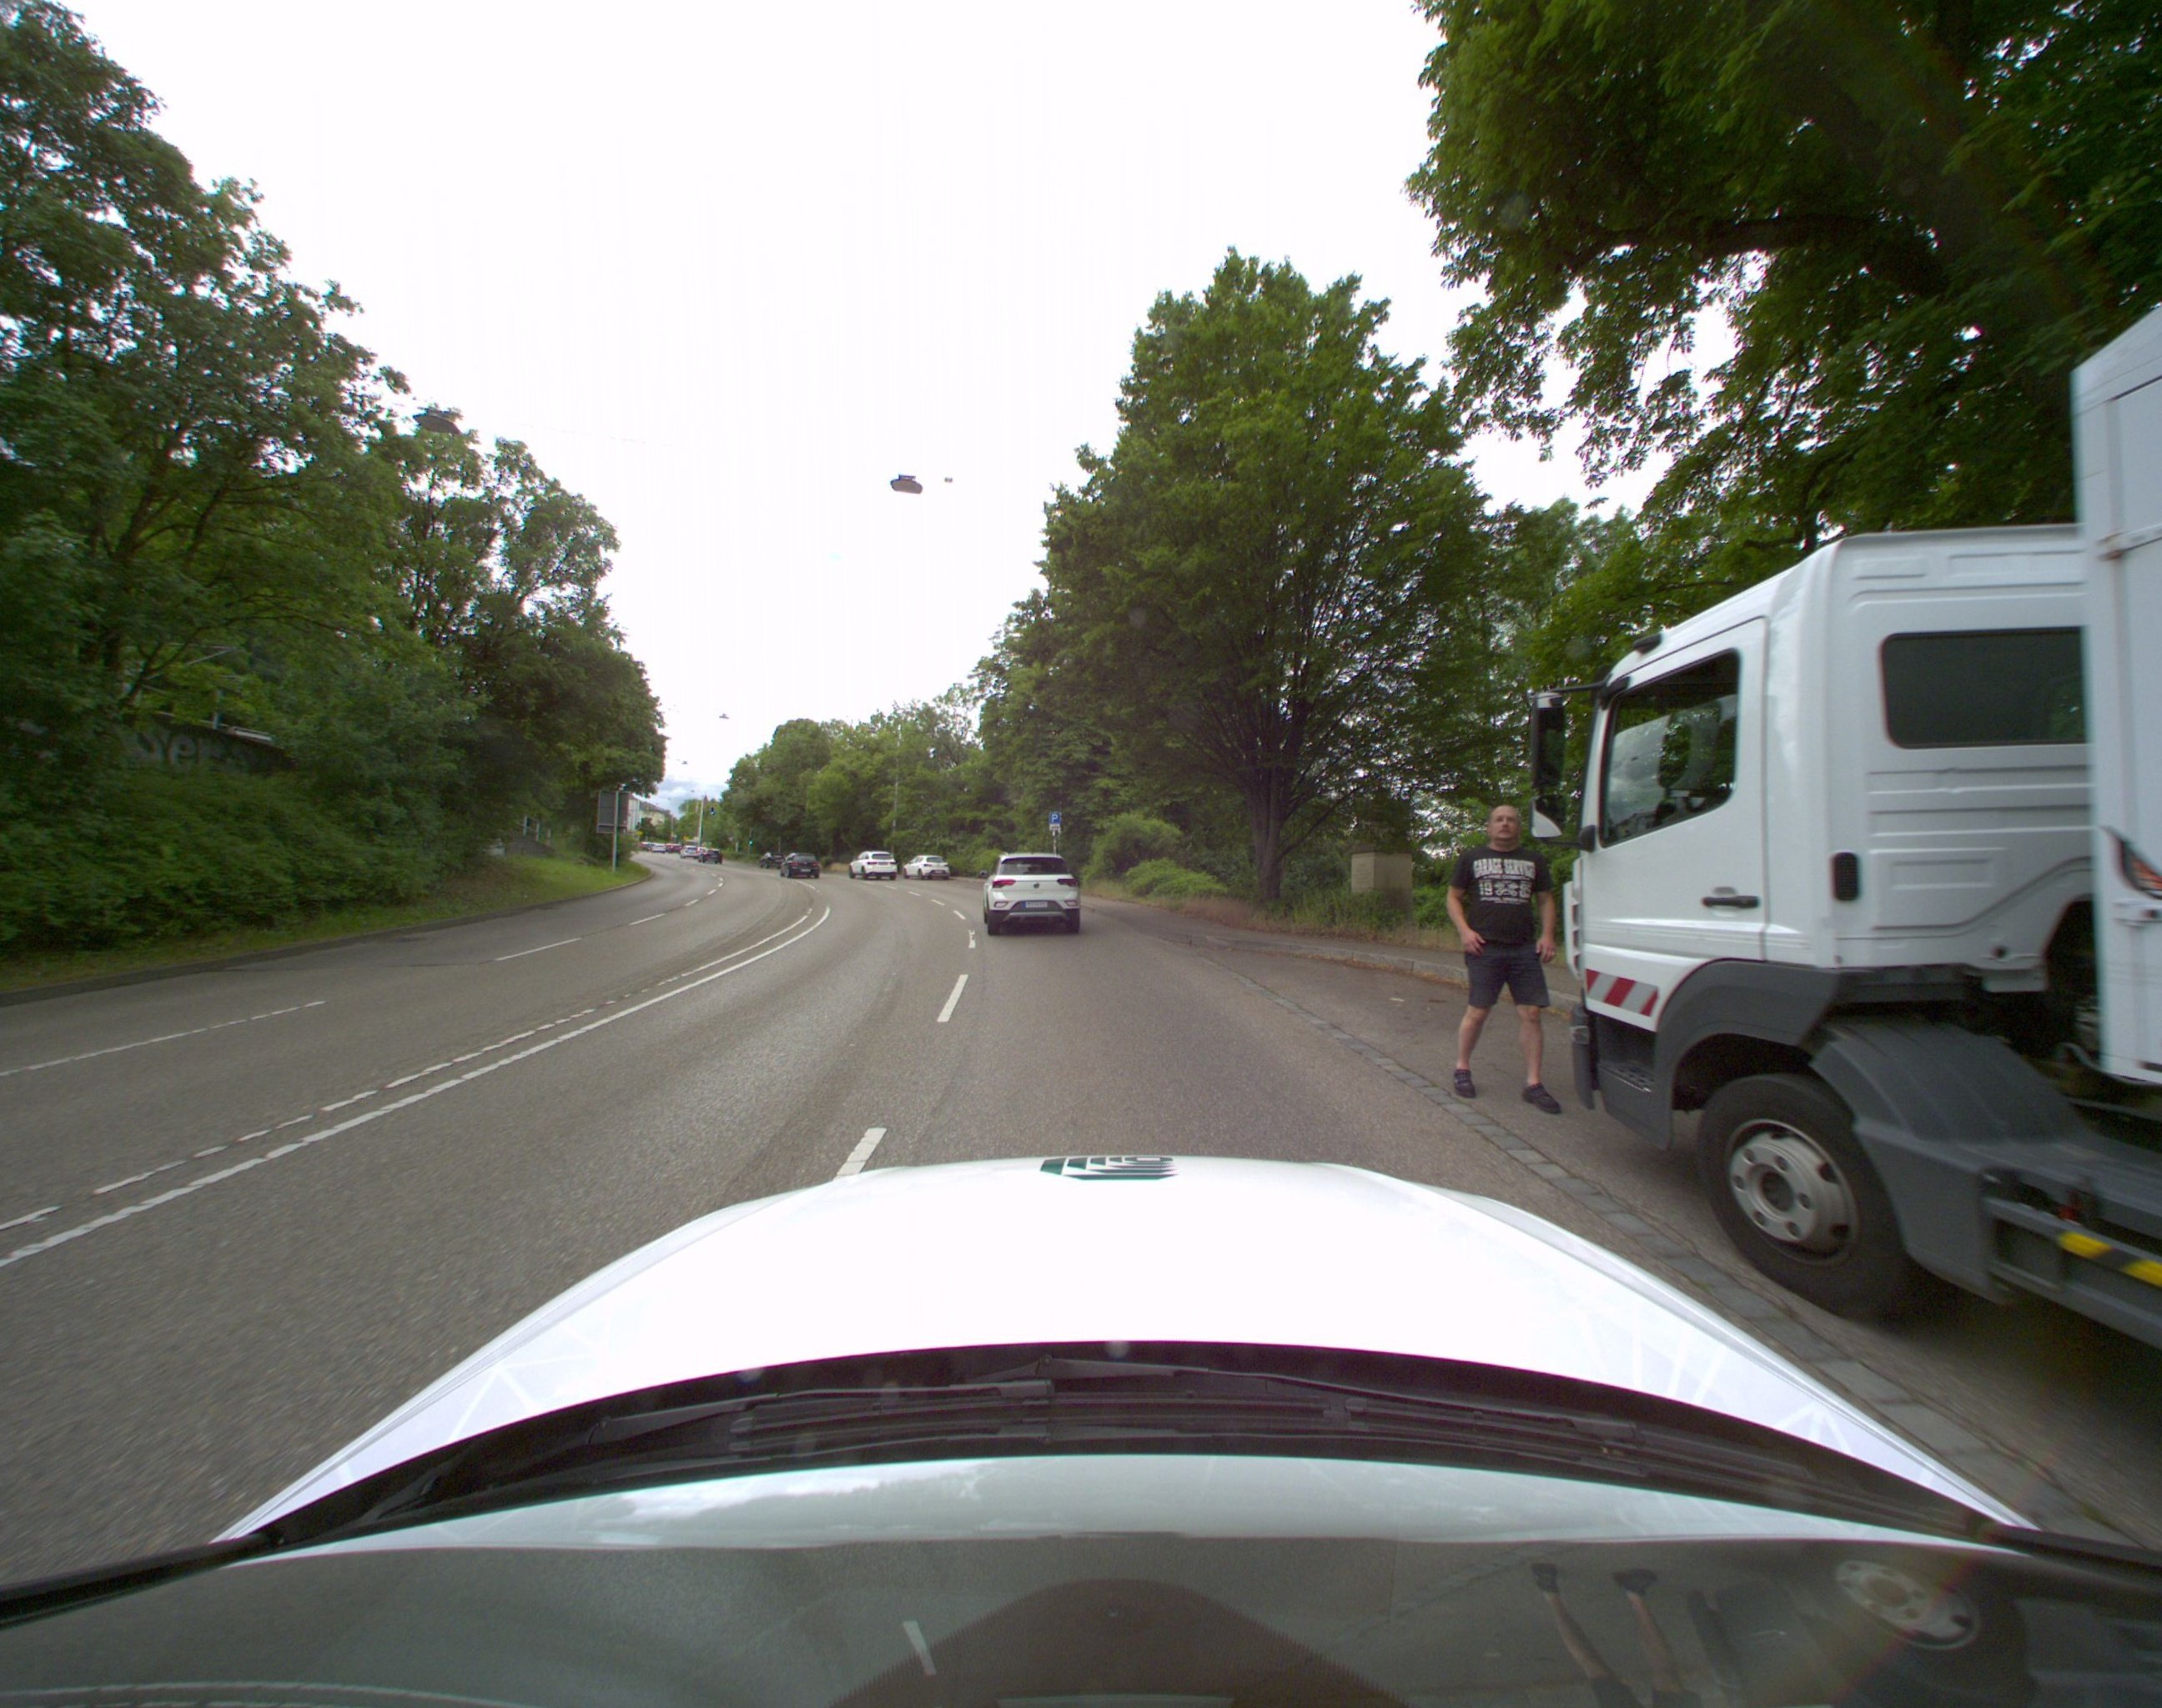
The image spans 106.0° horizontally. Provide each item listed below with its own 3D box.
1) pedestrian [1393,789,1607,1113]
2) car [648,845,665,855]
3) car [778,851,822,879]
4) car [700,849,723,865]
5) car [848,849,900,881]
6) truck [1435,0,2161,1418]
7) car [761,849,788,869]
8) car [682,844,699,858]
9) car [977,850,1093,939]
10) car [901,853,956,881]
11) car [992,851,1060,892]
[{"bbox_3d":[2.574,0.551,5.146,0.912,1.834,0.986,0,-1,6],"label":"pedestrian"},{"bbox_3d":[-72.511,-0.737,139.276,2.000,1.527,3.974,3,0,-20],"label":"car"},{"bbox_3d":[-16.519,0.622,47.724,1.959,1.466,3.967,3,0,-25],"label":"car"},{"bbox_3d":[-37.804,0.281,83.363,2.003,1.487,3.968,3,0,-24],"label":"car"},{"bbox_3d":[-12.091,0.646,47.409,1.863,1.703,3.961,-1,0,-30],"label":"car"},{"bbox_3d":[3.507,-0.399,1.580,2.474,3.181,7.227,1,0,0],"label":"truck"},{"bbox_3d":[-27.471,0.406,72.898,1.775,1.606,3.966,3,0,-26],"label":"car"},{"bbox_3d":[-47.428,-0.421,98.910,1.720,1.589,3.965,3,0,-27],"label":"car"},{"bbox_3d":[-1.077,0.725,16.775,2.000,1.596,3.987,0,0,-9],"label":"car"},{"bbox_3d":[-9.222,0.749,48.929,1.743,1.482,4.656,3,0,-30],"label":"car"},{"bbox_3d":[-2.463,0.698,35.310,1.765,1.652,4.350,0,0,-21],"label":"car"}]
